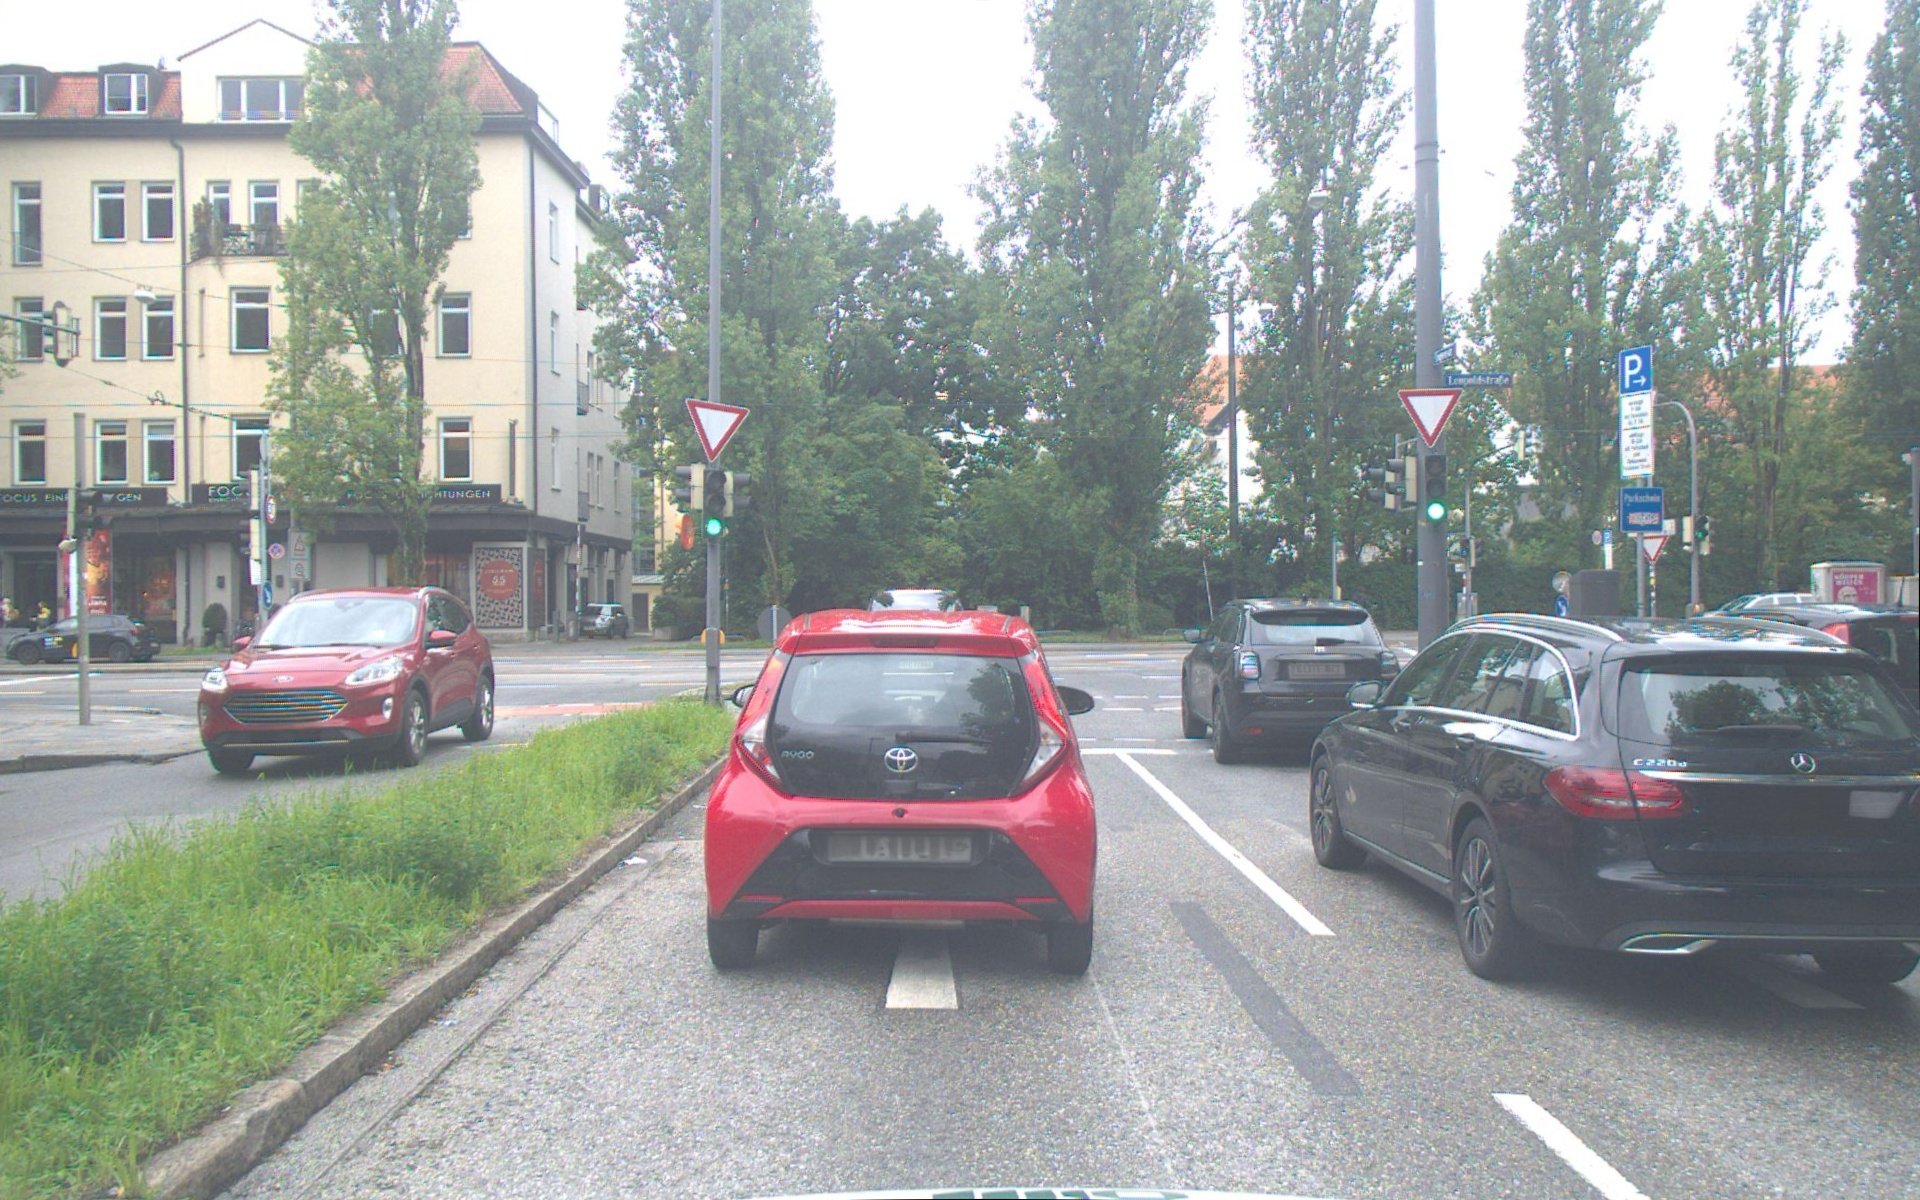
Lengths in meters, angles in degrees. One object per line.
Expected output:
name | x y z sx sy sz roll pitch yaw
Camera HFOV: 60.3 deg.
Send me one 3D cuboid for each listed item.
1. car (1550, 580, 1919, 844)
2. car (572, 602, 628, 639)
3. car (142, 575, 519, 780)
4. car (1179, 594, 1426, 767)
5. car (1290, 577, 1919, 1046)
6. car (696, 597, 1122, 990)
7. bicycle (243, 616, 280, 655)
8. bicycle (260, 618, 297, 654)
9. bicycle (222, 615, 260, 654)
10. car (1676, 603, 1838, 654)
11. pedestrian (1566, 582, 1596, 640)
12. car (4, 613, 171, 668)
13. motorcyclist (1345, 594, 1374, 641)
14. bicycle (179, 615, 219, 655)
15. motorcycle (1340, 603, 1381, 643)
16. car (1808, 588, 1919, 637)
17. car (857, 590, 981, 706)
car | 6.068 0.662 12.228 1.793 1.576 4.554 -1 0 0
car | -14.919 0.830 68.751 1.691 1.467 3.997 -1 0 -4
car | -6.016 0.620 16.566 2.061 1.666 4.937 -1 1 -3
car | 3.312 0.726 16.708 1.744 1.512 4.001 -1 0 2
car | 3.000 0.721 7.975 1.825 1.576 4.703 1 0 -1
car | -0.178 0.728 7.952 1.595 1.465 3.377 -1 0 0
bicycle | -22.282 1.110 52.780 0.485 1.206 1.888 -1 0 -4
bicycle | -21.769 1.127 52.844 0.485 1.100 1.888 -1 0 -4
bicycle | -22.970 1.100 52.842 0.485 1.206 1.888 -1 0 -4
car | 25.196 0.900 52.369 4.251 1.512 1.786 -1 0 -3
pedestrian | 18.345 0.319 48.826 0.689 1.692 0.549 0 -1 39
car | -25.523 1.177 48.509 3.909 1.491 1.803 -1 -1 -5
motorcyclist | 12.478 0.548 51.639 0.607 1.468 0.880 1 -1 -6
bicycle | -24.299 1.104 52.822 0.485 1.206 1.888 -1 0 -4
motorcycle | 12.476 0.715 51.593 0.616 1.190 2.027 1 -1 -6
car | 29.867 0.375 53.314 4.160 1.512 1.786 -1 0 -3
car | -0.555 0.662 25.238 1.700 1.576 4.576 -1 0 0
